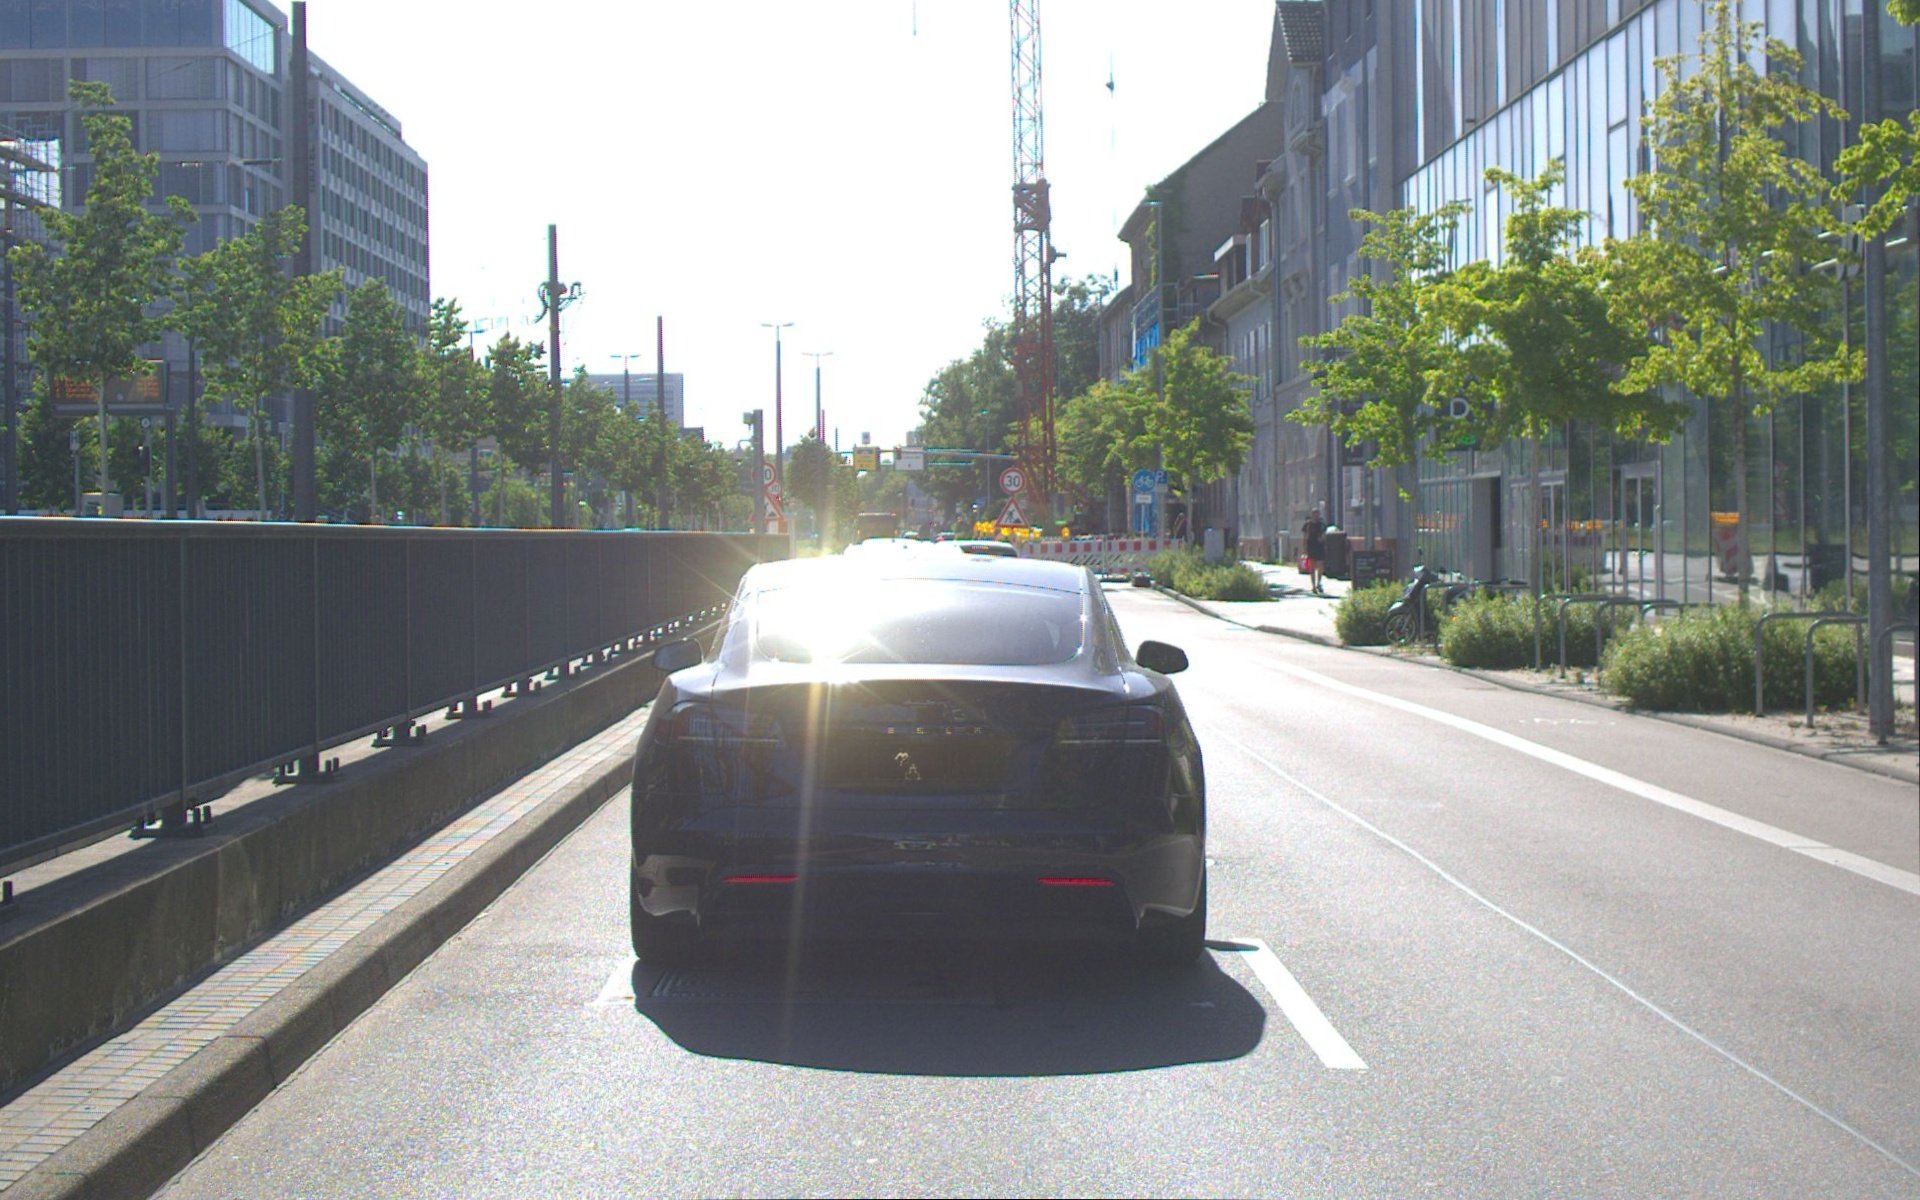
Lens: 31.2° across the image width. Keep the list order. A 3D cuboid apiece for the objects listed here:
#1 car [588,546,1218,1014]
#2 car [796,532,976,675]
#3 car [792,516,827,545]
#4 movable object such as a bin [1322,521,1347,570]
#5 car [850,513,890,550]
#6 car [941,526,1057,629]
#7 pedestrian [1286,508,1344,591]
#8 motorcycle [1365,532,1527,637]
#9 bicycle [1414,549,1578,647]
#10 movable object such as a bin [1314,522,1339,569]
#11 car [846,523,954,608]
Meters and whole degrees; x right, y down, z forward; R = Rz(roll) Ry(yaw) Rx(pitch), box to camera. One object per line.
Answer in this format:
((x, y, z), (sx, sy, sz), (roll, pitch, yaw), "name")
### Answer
((-0.088, 0.535, 13.135), (1.999, 1.429, 4.412), (0, 1, 3), "car")
((-0.695, -0.004, 34.847), (1.716, 1.315, 4.000), (0, 2, 0), "car")
((-9.091, -4.200, 207.813), (1.993, 1.678, 4.000), (1, 1, -2), "car")
((9.150, -1.331, 84.042), (0.559, 1.165, 0.562), (1, 1, 3), "movable object such as a bin")
((-4.482, -3.434, 171.292), (1.814, 1.803, 4.039), (0, 2, 1), "car")
((0.621, -0.388, 54.705), (1.784, 1.540, 4.039), (0, 2, 1), "car")
((8.069, -1.148, 78.194), (1.095, 1.857, 1.523), (-1, 1, -2), "pedestrian")
((6.742, -0.209, 47.729), (2.075, 1.349, 0.652), (-3, 1, 23), "motorcycle")
((6.713, -0.033, 43.091), (1.881, 1.147, 0.672), (-2, 1, -10), "bicycle")
((9.059, -1.347, 84.891), (0.559, 1.165, 0.562), (1, 1, 3), "movable object such as a bin")
((-1.157, -0.708, 68.125), (1.888, 1.590, 4.000), (-1, 2, 2), "car")
